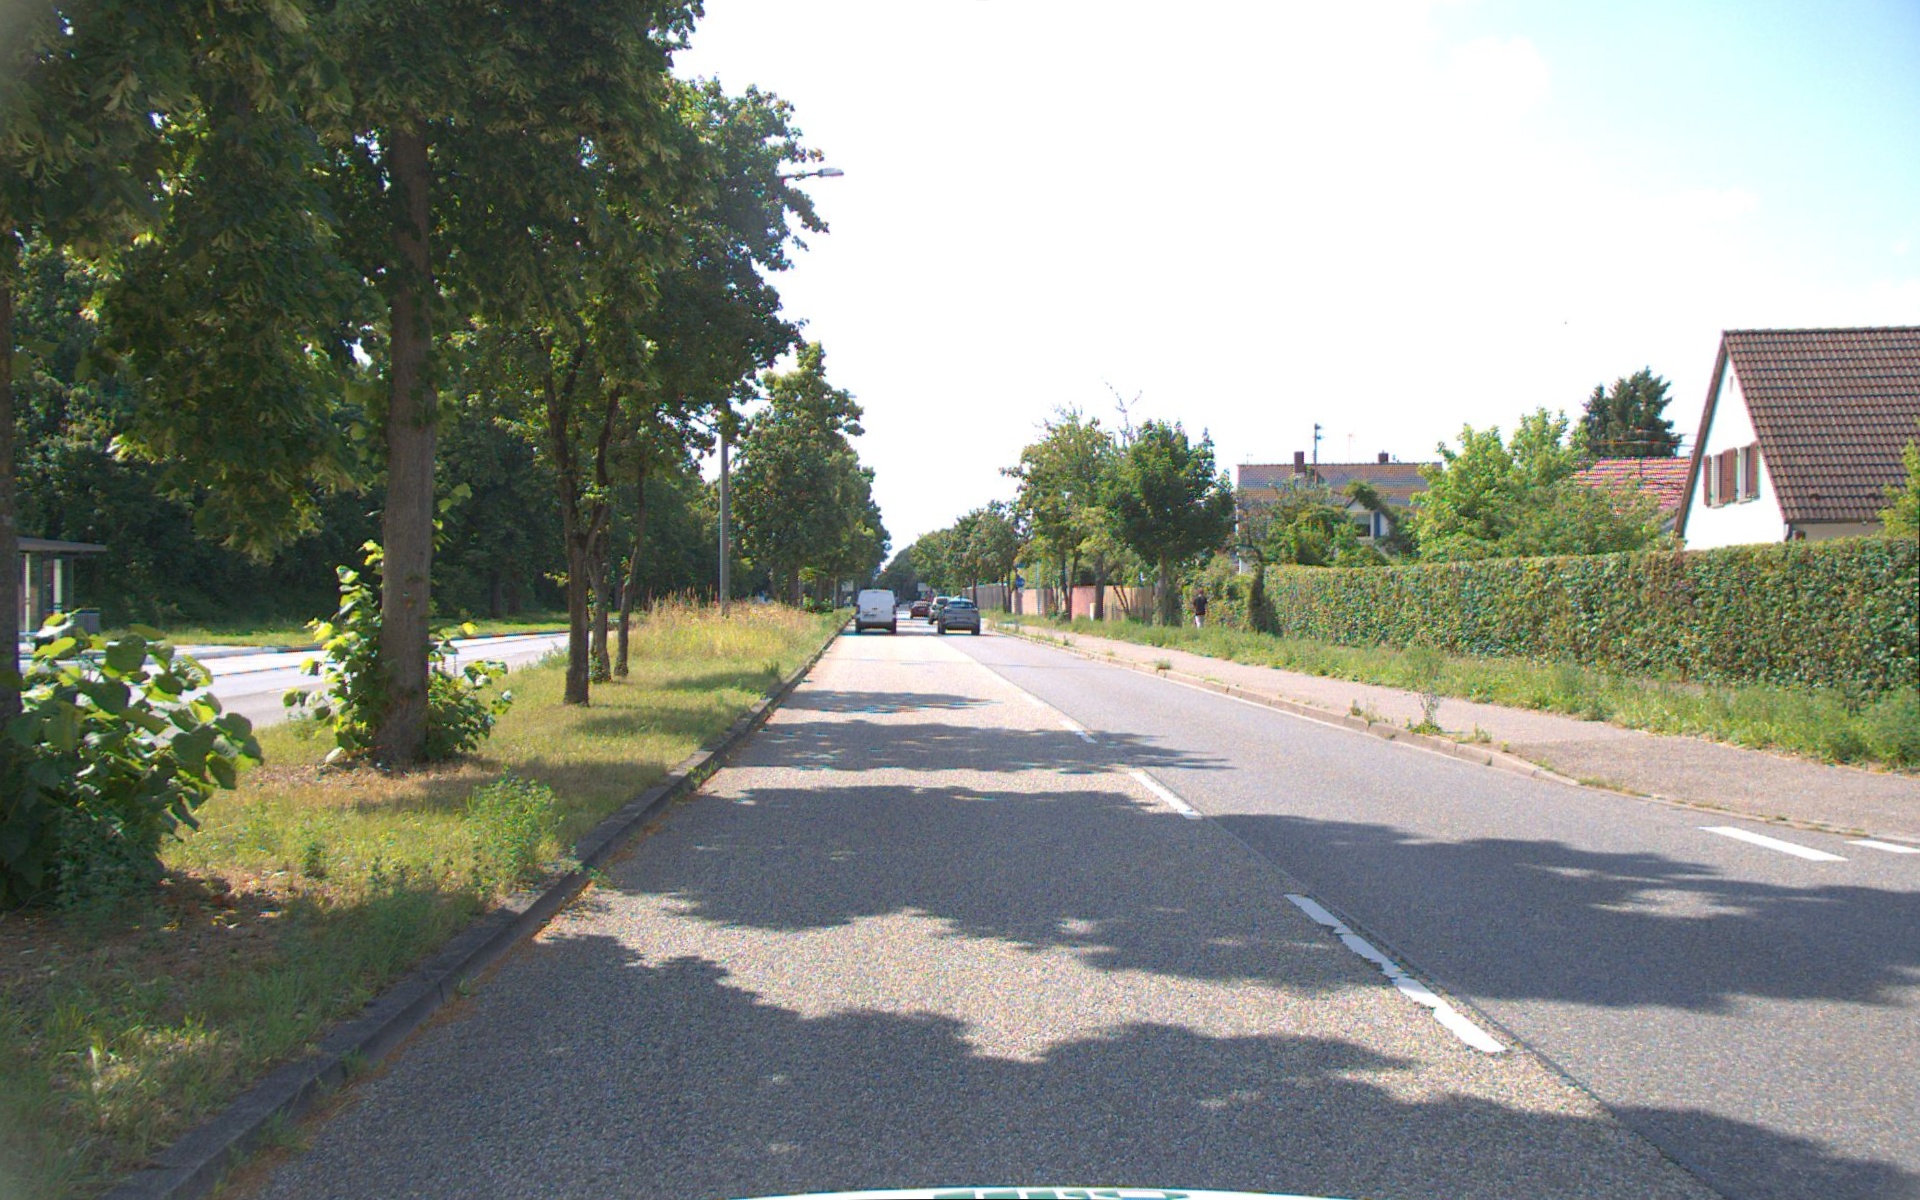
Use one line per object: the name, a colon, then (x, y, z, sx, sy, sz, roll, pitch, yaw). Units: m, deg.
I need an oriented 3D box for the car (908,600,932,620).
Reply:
car: (-3.286, 0.816, 136.341, 1.843, 1.615, 3.997, 0, 0, -3)

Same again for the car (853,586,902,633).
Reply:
car: (-3.574, 0.398, 71.323, 2.025, 1.945, 4.643, 0, 0, -3)

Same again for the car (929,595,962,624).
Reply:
car: (-0.895, 0.583, 98.594, 1.838, 1.681, 3.998, 0, 0, -3)

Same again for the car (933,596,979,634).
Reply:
car: (-0.187, 0.656, 73.028, 1.838, 1.617, 4.182, 0, 0, -3)

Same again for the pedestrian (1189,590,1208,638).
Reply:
pedestrian: (8.482, 0.497, 58.939, 0.549, 1.706, 0.634, 0, 0, -4)
